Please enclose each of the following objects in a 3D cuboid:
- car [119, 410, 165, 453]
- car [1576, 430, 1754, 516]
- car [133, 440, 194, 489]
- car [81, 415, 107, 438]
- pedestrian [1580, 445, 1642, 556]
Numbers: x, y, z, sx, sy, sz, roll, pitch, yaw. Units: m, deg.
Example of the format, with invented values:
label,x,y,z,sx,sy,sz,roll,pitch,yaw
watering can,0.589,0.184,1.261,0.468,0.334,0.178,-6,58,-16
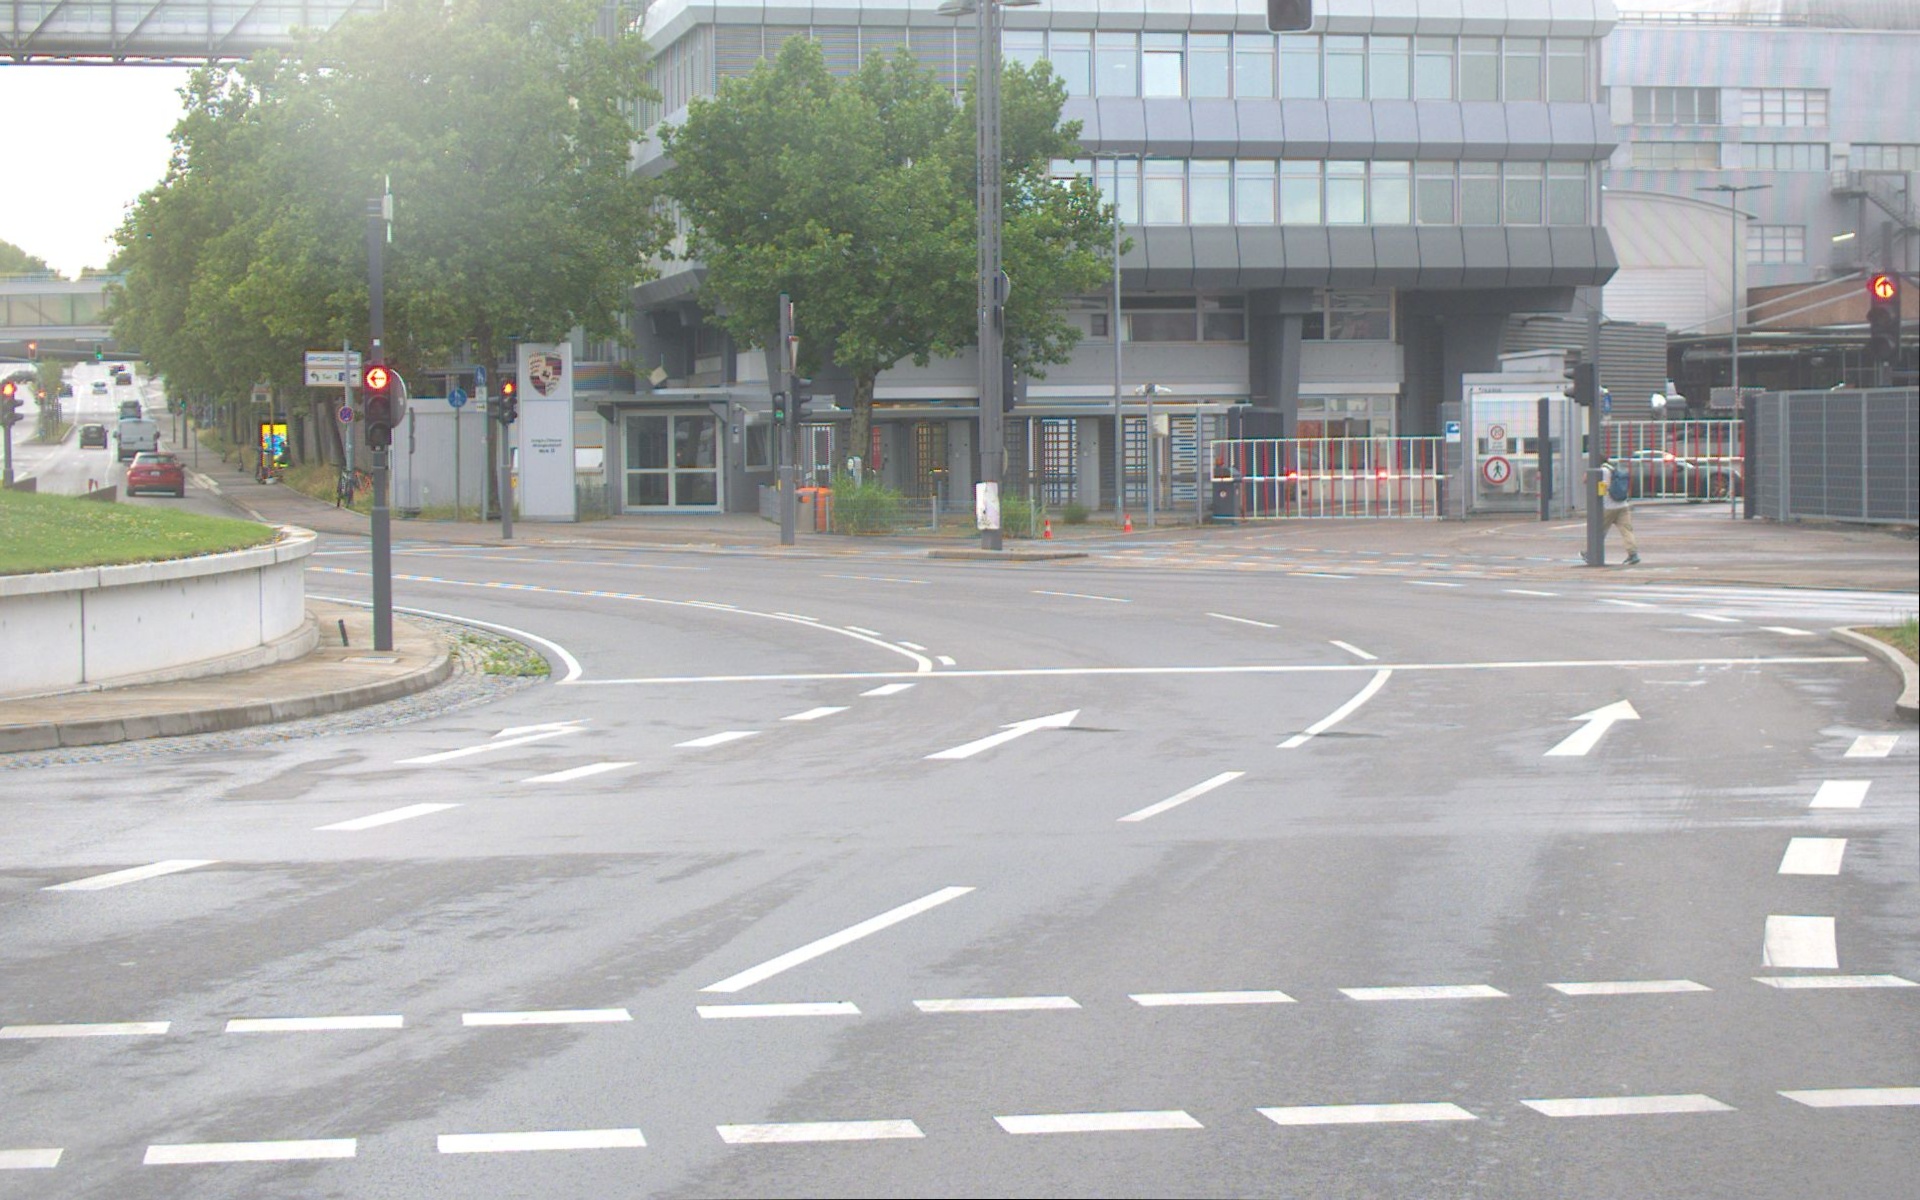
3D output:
label,x,y,z,sx,sy,sz,roll,pitch,yaw
car,-43.685,-8.997,183.759,2.232,2.100,4.956,-1,0,-12
car,16.798,-3.020,81.745,1.998,1.962,4.883,1,2,41
car,-25.417,-4.304,109.652,1.772,1.459,3.734,-1,0,-15
car,-54.959,-11.011,218.205,1.556,1.284,3.415,-1,0,-15
pedestrian,9.633,-1.462,50.855,0.808,1.605,0.769,-1,0,17
